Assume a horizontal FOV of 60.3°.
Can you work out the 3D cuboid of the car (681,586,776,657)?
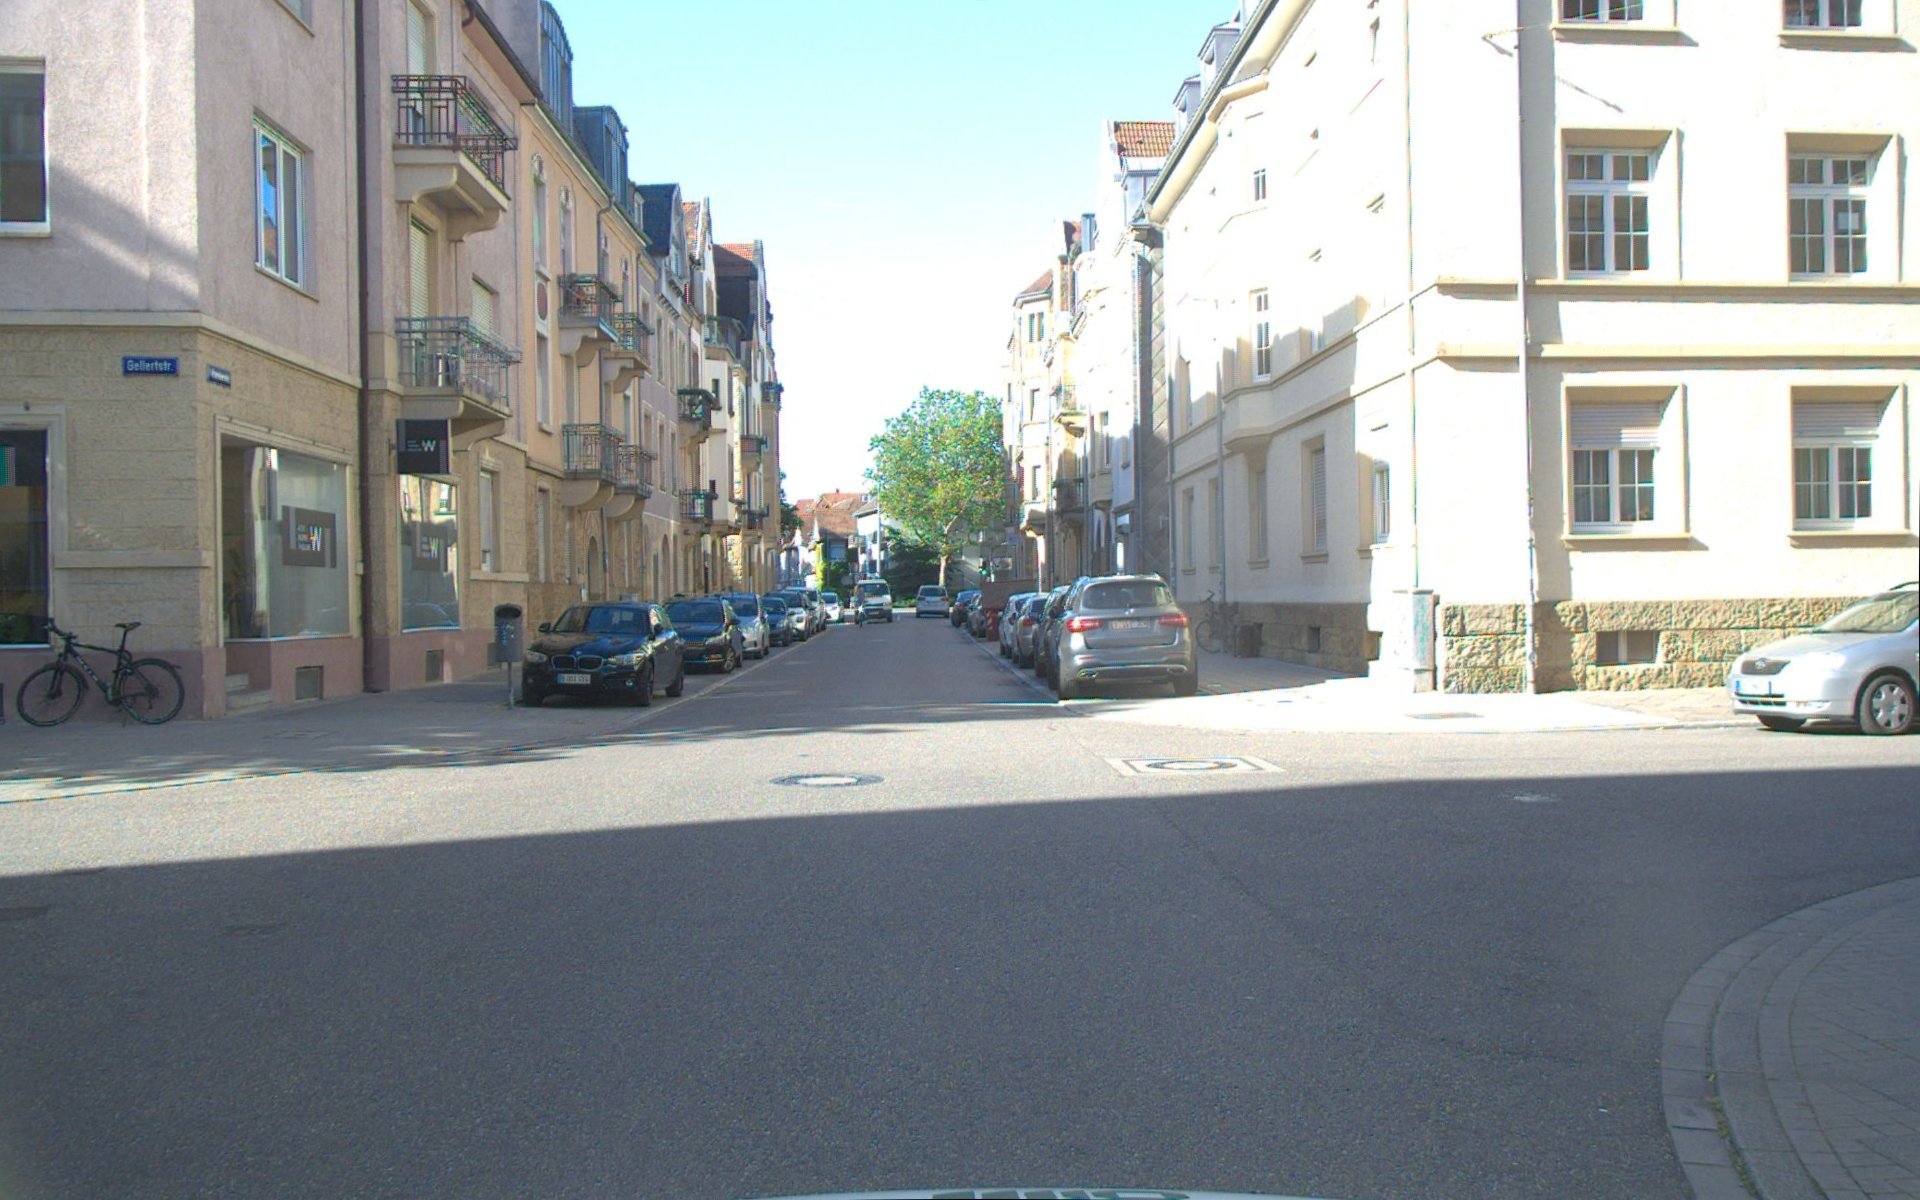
[{"bbox_3d":[-5.782,0.532,41.800,1.963,1.647,4.484,1,0,-3],"label":"car"}]

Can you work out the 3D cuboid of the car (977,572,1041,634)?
[{"bbox_3d":[1.529,0.133,52.807,1.801,1.818,4.027,-2,-1,-1],"label":"car"}]

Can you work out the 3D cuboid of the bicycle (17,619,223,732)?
[{"bbox_3d":[-9.137,0.804,18.048,1.863,1.155,0.647,0,2,-9],"label":"bicycle"}]

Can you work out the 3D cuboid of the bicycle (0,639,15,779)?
[{"bbox_3d":[-8.932,0.942,13.639,1.859,1.155,0.648,-1,2,-1],"label":"bicycle"}]

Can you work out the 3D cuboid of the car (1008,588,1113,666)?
[{"bbox_3d":[2.042,0.578,34.627,1.801,1.456,4.027,-2,-1,-1],"label":"car"}]

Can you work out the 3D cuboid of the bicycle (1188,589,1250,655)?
[{"bbox_3d":[5.215,0.423,33.435,0.746,1.268,2.591,-1,0,-2],"label":"bicycle"}]

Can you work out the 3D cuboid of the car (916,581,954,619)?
[{"bbox_3d":[-1.392,0.027,89.783,1.963,1.947,4.485,1,0,-2],"label":"car"}]

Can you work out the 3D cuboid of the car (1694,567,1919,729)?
[{"bbox_3d":[10.000,0.436,16.678,4.453,1.494,1.824,-1,-2,-9],"label":"car"}]

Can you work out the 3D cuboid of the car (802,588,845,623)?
[{"bbox_3d":[-6.689,0.263,81.410,1.963,1.633,4.484,1,0,-3],"label":"car"}]

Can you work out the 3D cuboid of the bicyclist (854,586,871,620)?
[{"bbox_3d":[-4.186,0.115,71.002,0.649,1.409,0.753,-3,0,-3],"label":"bicyclist"}]

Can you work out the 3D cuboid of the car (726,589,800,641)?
[{"bbox_3d":[-6.007,0.458,50.935,1.939,1.508,4.325,1,0,-3],"label":"car"}]

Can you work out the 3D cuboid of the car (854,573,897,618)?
[{"bbox_3d":[-4.026,-0.200,78.761,1.963,2.035,4.484,1,0,-3],"label":"car"}]

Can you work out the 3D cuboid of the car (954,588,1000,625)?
[{"bbox_3d":[0.708,0.301,71.608,1.801,1.456,4.027,-2,-1,-1],"label":"car"}]

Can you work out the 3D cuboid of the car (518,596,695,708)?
[{"bbox_3d":[-5.023,0.702,24.065,1.645,1.451,4.273,1,0,0],"label":"car"}]

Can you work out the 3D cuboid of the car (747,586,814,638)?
[{"bbox_3d":[-5.970,0.407,55.447,1.963,1.647,4.484,1,0,-3],"label":"car"}]

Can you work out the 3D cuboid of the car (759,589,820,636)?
[{"bbox_3d":[-6.235,0.459,60.944,1.963,1.647,4.484,1,0,-3],"label":"car"}]

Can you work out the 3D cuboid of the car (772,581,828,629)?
[{"bbox_3d":[-6.384,0.218,66.416,1.963,1.819,4.484,1,0,-3],"label":"car"}]

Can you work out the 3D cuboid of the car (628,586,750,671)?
[{"bbox_3d":[-5.522,0.571,34.248,1.963,1.610,4.484,1,0,-3],"label":"car"}]

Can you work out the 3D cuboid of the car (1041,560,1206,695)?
[{"bbox_3d":[2.250,0.403,23.946,1.874,1.673,4.773,-3,-1,0],"label":"car"}]

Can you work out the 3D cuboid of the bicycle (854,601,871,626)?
[{"bbox_3d":[-4.176,0.593,70.981,0.649,1.037,2.065,-3,0,-3],"label":"bicycle"}]

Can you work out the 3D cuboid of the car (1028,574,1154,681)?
[{"bbox_3d":[2.189,0.480,28.566,1.710,1.636,4.027,-2,-1,-1],"label":"car"}]

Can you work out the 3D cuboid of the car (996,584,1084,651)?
[{"bbox_3d":[1.881,0.440,40.017,1.801,1.456,4.027,-2,-1,-1],"label":"car"}]
